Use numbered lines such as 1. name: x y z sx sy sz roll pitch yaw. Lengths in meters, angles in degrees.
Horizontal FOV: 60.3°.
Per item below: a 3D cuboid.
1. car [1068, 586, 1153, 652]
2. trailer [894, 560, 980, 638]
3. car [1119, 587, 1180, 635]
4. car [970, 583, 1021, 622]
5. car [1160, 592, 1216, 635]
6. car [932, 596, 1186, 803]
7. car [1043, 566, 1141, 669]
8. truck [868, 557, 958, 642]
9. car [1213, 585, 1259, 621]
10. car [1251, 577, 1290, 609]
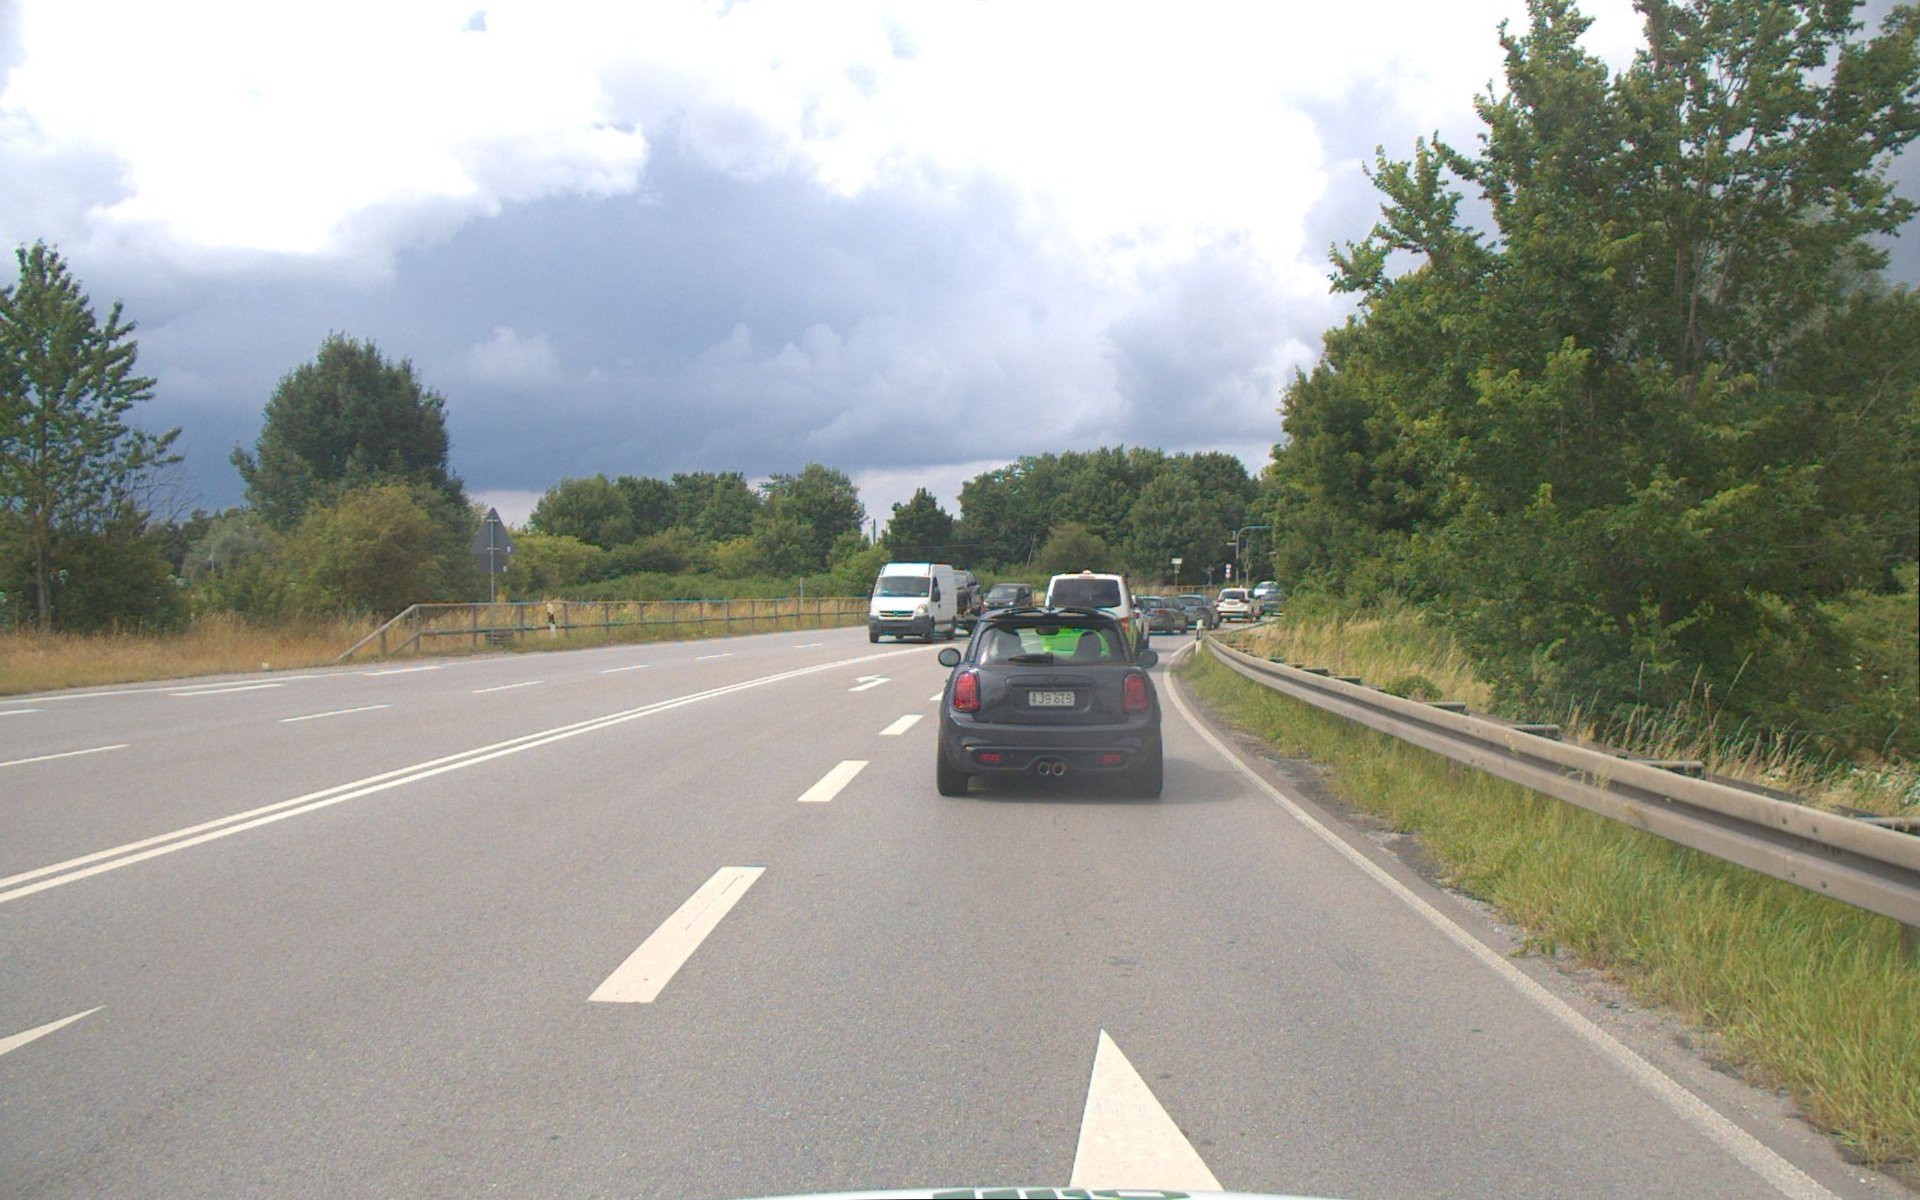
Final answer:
1. car: 4.176 0.507 45.350 1.951 1.713 4.003 1 0 10
2. trailer: -0.713 -0.054 57.286 1.980 2.487 6.971 1 0 7
3. car: 7.237 0.401 62.942 1.951 1.713 4.003 2 0 11
4. car: 1.775 0.104 81.808 1.951 1.828 4.323 1 1 9
5. car: 9.840 0.581 71.174 1.951 1.713 3.980 2 0 13
6. car: 0.793 0.724 13.813 1.806 1.453 3.842 1 0 2
7. car: 2.838 0.357 34.929 1.805 2.022 3.844 1 0 8
8. truck: -1.407 -0.028 52.069 1.980 2.487 5.028 1 0 8
9. car: 13.853 0.165 82.906 1.951 1.713 4.003 2 0 13
10. car: 17.859 -0.392 95.054 1.951 1.713 4.003 2 0 13
